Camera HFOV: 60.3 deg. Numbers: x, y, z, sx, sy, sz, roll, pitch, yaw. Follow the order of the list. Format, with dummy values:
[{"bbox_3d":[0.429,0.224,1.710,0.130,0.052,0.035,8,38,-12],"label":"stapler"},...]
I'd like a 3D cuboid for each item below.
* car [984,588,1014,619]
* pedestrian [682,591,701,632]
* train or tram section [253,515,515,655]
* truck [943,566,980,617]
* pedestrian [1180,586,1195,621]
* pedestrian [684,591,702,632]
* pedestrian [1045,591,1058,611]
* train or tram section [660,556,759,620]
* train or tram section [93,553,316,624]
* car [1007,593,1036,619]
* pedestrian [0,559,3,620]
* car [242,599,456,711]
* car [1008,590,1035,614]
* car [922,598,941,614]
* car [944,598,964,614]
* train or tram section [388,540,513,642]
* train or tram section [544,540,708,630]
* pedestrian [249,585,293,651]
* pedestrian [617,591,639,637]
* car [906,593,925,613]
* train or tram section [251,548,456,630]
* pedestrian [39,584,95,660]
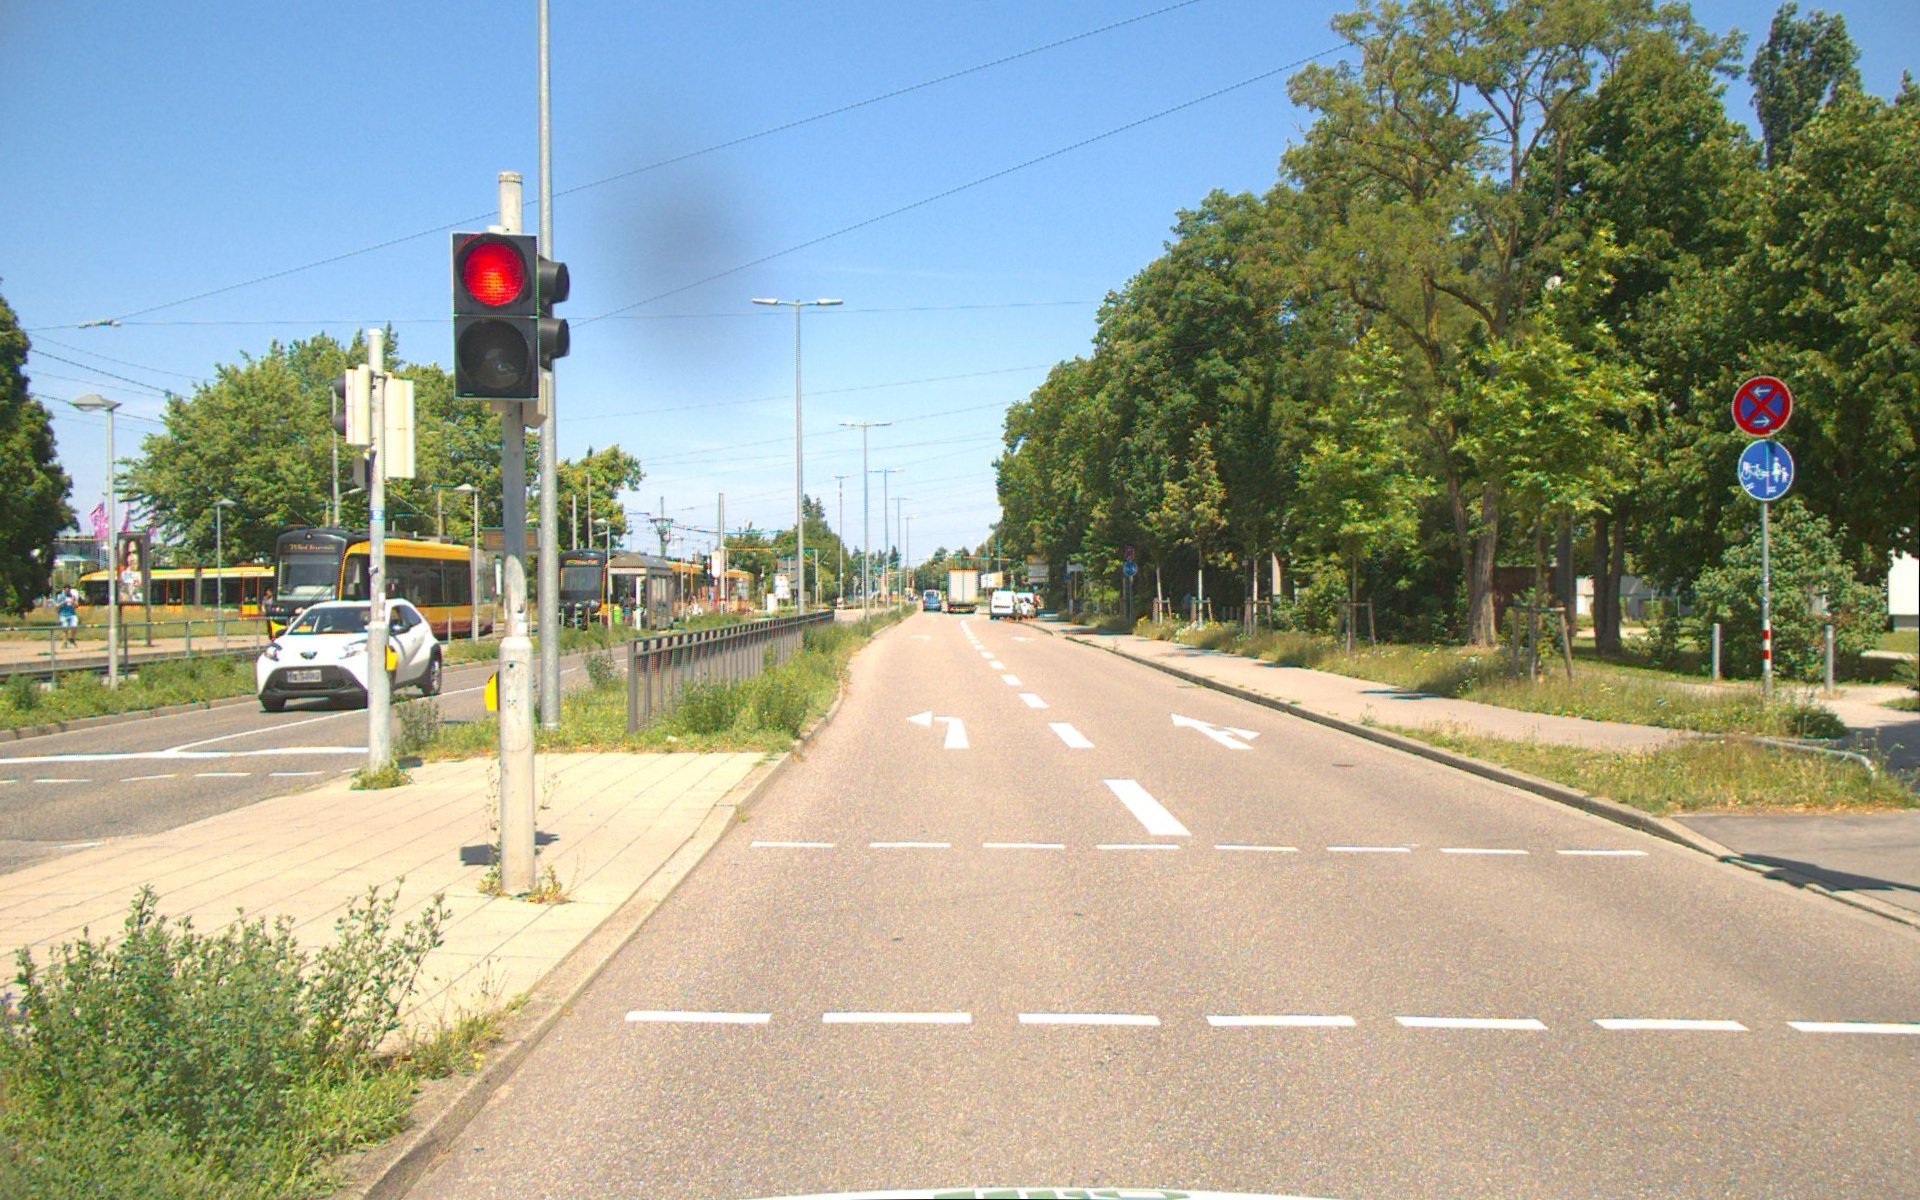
[{"bbox_3d":[2.454,0.222,105.543,1.743,1.937,3.999,0,0,-1],"label":"car"},{"bbox_3d":[-13.742,0.591,84.723,0.798,2.049,0.938,0,0,-1],"label":"pedestrian"},{"bbox_3d":[-19.001,-0.480,56.671,3.151,4.000,18.492,0,0,-2],"label":"train or tram section"},{"bbox_3d":[0.072,-0.729,146.060,3.140,4.435,6.559,0,0,-1],"label":"truck"},{"bbox_3d":[9.440,0.135,68.642,0.591,1.463,0.556,0,0,6],"label":"pedestrian"},{"bbox_3d":[-13.465,0.590,83.434,0.798,2.049,0.938,0,0,-1],"label":"pedestrian"},{"bbox_3d":[9.058,0.102,163.408,1.161,2.049,1.213,0,0,-1],"label":"pedestrian"},{"bbox_3d":[-17.099,-0.800,116.281,2.872,3.856,33.076,0,0,-2],"label":"train or tram section"},{"bbox_3d":[-45.430,-0.638,98.880,18.116,4.000,3.216,0,0,34],"label":"train or tram section"},{"bbox_3d":[4.183,0.400,112.497,1.743,1.698,3.999,0,0,-1],"label":"car"},{"bbox_3d":[-12.682,0.361,20.815,0.703,1.808,0.842,4,2,-1],"label":"pedestrian"},{"bbox_3d":[-8.935,0.748,24.526,1.807,1.521,3.790,0,0,-1],"label":"car"},{"bbox_3d":[4.407,0.120,118.848,1.743,1.698,3.999,0,0,-1],"label":"car"},{"bbox_3d":[-2.684,0.524,157.830,1.774,1.490,3.999,0,0,-1],"label":"car"},{"bbox_3d":[-0.589,0.565,153.594,1.774,1.490,3.999,0,0,-1],"label":"car"},{"bbox_3d":[-22.988,-0.373,73.617,3.173,4.000,18.360,0,0,-24],"label":"train or tram section"},{"bbox_3d":[-16.372,-0.684,84.773,2.898,3.815,30.025,0,0,-1],"label":"train or tram section"},{"bbox_3d":[-21.560,0.547,51.788,0.961,2.049,1.021,0,0,-1],"label":"pedestrian"},{"bbox_3d":[-13.849,0.592,69.075,0.769,1.901,0.817,0,0,-1],"label":"pedestrian"},{"bbox_3d":[-4.696,0.335,175.083,1.953,2.049,3.999,0,0,-1],"label":"car"},{"bbox_3d":[-32.649,-0.546,88.122,3.201,4.000,18.199,0,0,-44],"label":"train or tram section"},{"bbox_3d":[-24.212,0.591,44.852,0.961,2.049,1.021,0,0,-1],"label":"pedestrian"}]
